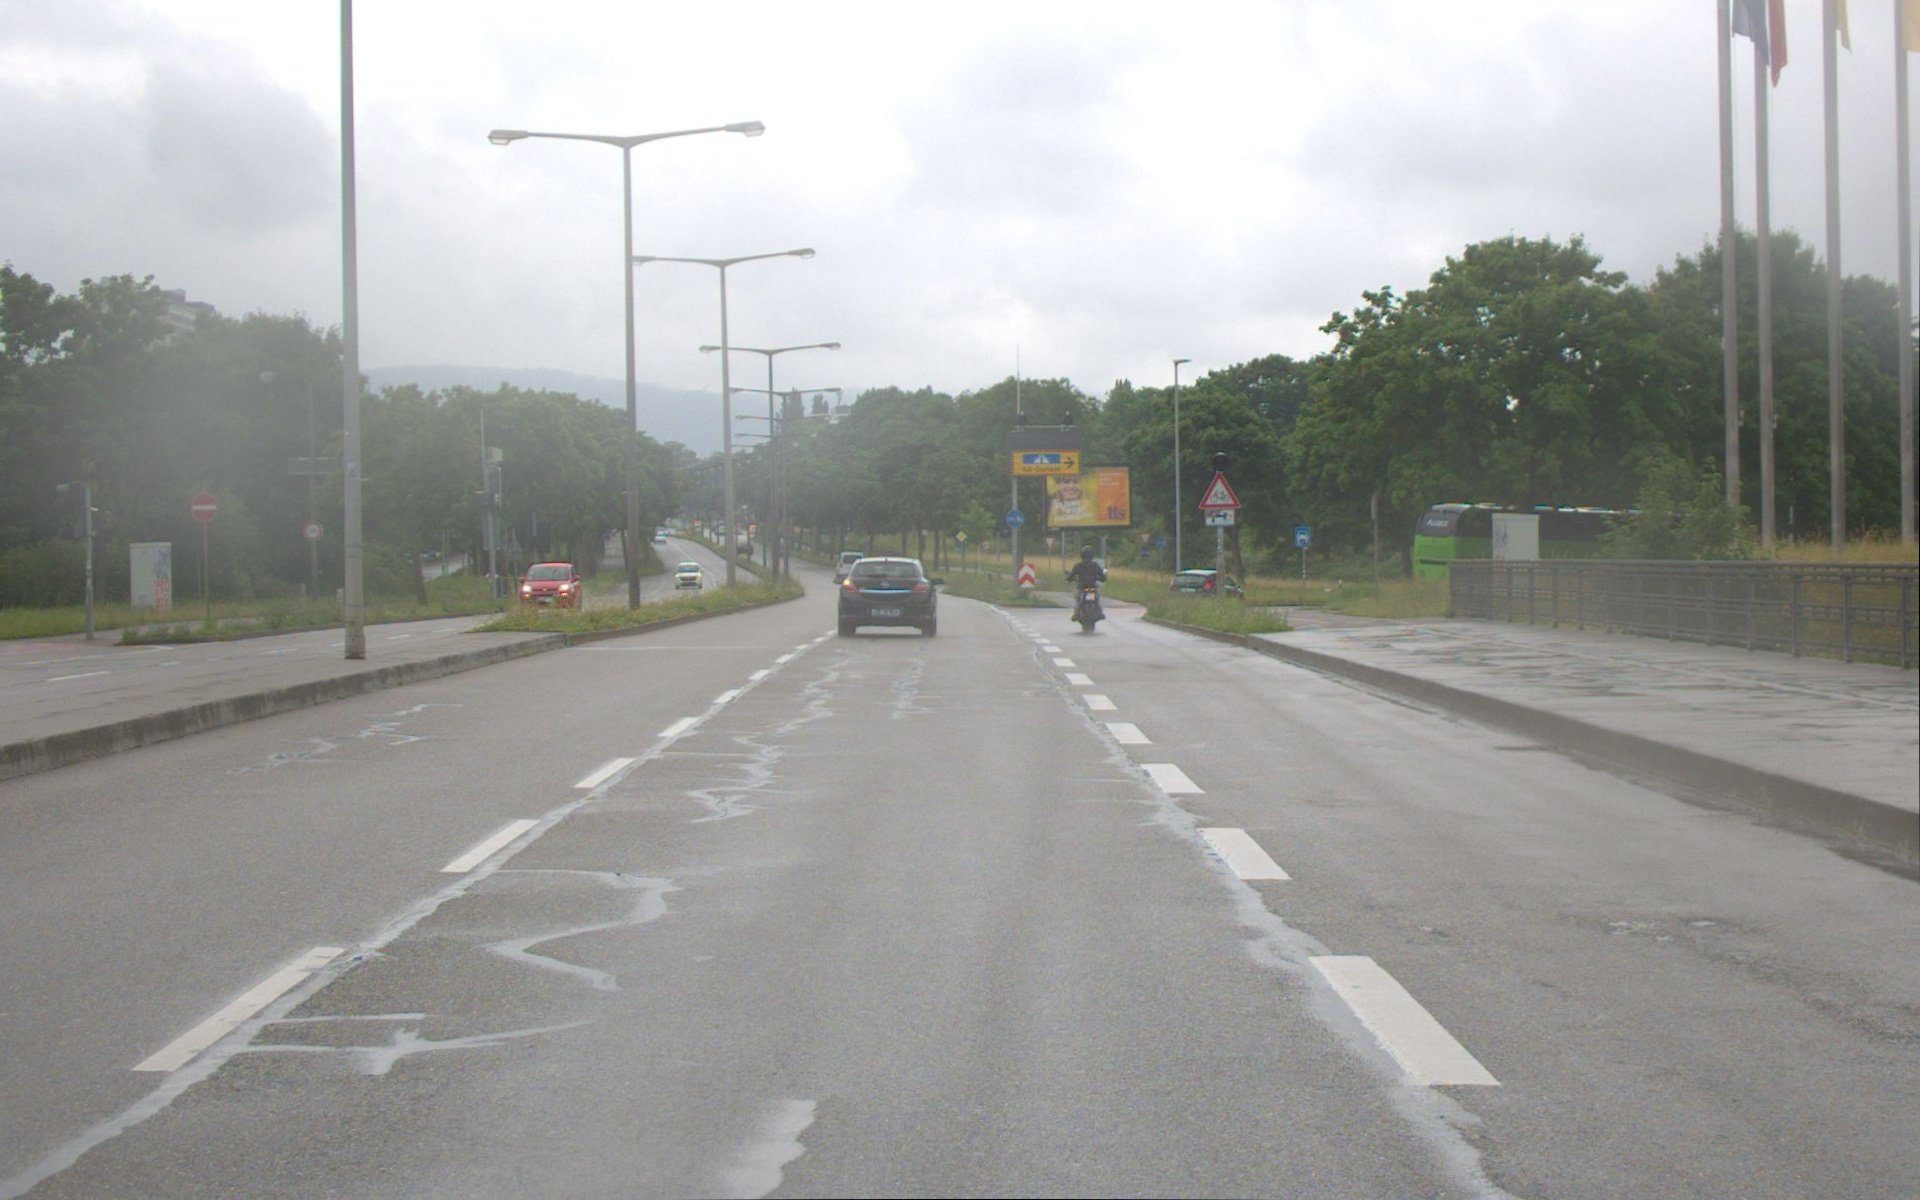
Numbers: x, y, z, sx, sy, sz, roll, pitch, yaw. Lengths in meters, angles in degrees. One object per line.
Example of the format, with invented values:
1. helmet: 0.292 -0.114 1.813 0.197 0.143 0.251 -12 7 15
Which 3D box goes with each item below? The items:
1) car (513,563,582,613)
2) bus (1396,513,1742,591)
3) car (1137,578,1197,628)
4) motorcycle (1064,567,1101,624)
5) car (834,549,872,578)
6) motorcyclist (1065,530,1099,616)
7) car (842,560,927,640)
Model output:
1. car: -12.608 -0.375 105.157 1.660 1.443 3.557 -2 1 -1
2. bus: 23.026 -1.765 129.250 14.543 2.670 2.763 1 1 -31
3. car: 6.908 0.084 114.852 1.854 1.612 4.000 1 1 2
4. motorcycle: 2.434 -0.098 68.446 0.601 1.089 1.732 1 1 -2
5. car: -7.950 -2.706 255.720 2.515 2.045 5.294 -1 0 -5
6. motorcyclist: 2.426 -0.539 68.420 0.601 1.684 0.860 1 1 -2
7. car: -1.360 -0.022 61.464 1.463 1.324 3.758 1 1 -2
